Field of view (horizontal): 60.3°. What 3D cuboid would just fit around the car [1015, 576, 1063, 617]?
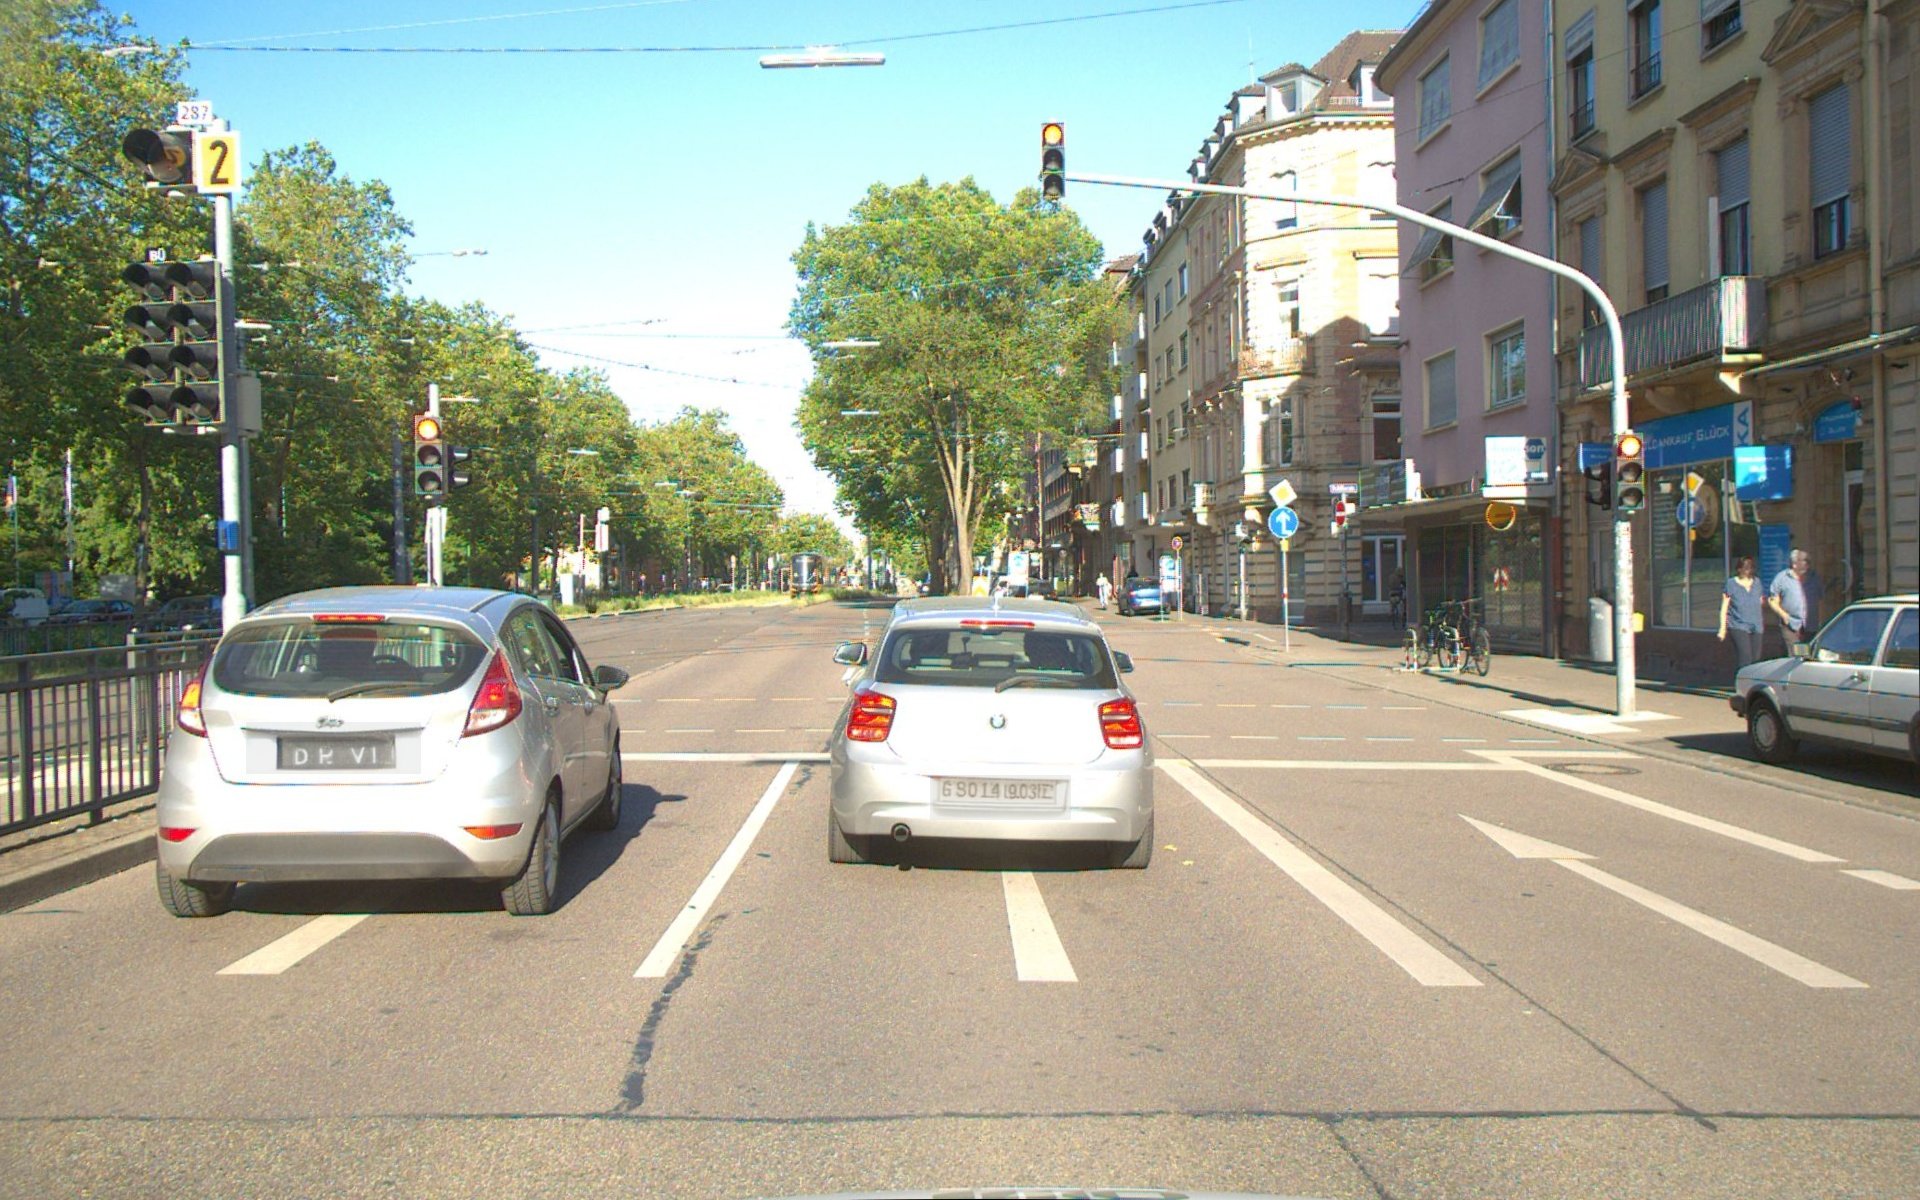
[{"bbox_3d":[2.895,-0.144,60.748,1.699,1.458,3.679,1,1,2],"label":"car"}]

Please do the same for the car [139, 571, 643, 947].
[{"bbox_3d":[-2.665,0.605,8.646,1.578,1.493,3.886,-1,1,-5],"label":"car"}]

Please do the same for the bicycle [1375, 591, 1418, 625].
[{"bbox_3d":[12.097,0.207,45.865,0.642,0.919,1.331,0,1,41],"label":"bicycle"}]

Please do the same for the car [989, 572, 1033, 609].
[{"bbox_3d":[2.187,-0.422,71.864,1.690,1.533,3.554,0,1,-2],"label":"car"}]

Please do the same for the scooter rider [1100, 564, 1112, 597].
[{"bbox_3d":[6.702,-0.888,76.118,0.455,1.531,0.811,-1,0,11],"label":"scooter rider"}]

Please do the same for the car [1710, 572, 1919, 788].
[{"bbox_3d":[7.590,0.559,12.907,1.531,1.440,4.003,-4,1,-1],"label":"car"}]

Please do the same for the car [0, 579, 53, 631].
[{"bbox_3d":[-29.428,0.131,50.167,1.636,1.536,4.143,0,1,-2],"label":"car"}]

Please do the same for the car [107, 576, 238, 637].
[{"bbox_3d":[-21.038,0.137,44.347,1.650,1.525,4.340,-1,1,-4],"label":"car"}]

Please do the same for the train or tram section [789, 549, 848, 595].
[{"bbox_3d":[-12.690,-2.515,150.277,3.923,3.933,17.487,0,1,0],"label":"train or tram section"}]

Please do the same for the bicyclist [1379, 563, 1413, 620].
[{"bbox_3d":[12.077,-0.240,45.842,0.538,1.528,0.956,0,1,40],"label":"bicyclist"}]

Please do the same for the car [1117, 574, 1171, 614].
[{"bbox_3d":[7.386,-0.259,66.623,1.700,1.546,3.635,0,1,-2],"label":"car"}]

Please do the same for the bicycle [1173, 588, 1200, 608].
[{"bbox_3d":[9.173,-0.094,67.012,0.739,0.784,1.945,0,1,-2],"label":"bicycle"}]

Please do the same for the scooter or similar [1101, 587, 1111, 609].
[{"bbox_3d":[6.743,-0.084,76.232,0.330,1.005,1.285,0,1,11],"label":"scooter or similar"}]

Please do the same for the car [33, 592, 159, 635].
[{"bbox_3d":[-29.395,0.447,56.429,1.897,1.372,4.847,0,0,-2],"label":"car"}]

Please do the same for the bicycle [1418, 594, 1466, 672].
[{"bbox_3d":[7.580,0.503,26.050,0.405,1.160,1.811,0,1,6],"label":"bicycle"}]

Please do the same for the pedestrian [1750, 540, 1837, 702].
[{"bbox_3d":[9.765,0.242,19.392,0.659,1.837,0.530,-3,1,-1],"label":"pedestrian"}]

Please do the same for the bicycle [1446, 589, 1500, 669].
[{"bbox_3d":[8.069,0.436,26.053,0.439,1.179,1.759,-1,1,5],"label":"bicycle"}]

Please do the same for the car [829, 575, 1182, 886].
[{"bbox_3d":[0.192,0.613,10.089,1.705,1.492,4.000,1,1,-1],"label":"car"}]

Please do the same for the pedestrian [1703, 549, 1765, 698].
[{"bbox_3d":[9.137,0.271,19.529,0.538,1.738,0.388,-1,1,2],"label":"pedestrian"}]

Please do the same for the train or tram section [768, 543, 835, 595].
[{"bbox_3d":[-12.532,-2.469,132.736,3.888,3.933,17.487,0,1,-1],"label":"train or tram section"}]
